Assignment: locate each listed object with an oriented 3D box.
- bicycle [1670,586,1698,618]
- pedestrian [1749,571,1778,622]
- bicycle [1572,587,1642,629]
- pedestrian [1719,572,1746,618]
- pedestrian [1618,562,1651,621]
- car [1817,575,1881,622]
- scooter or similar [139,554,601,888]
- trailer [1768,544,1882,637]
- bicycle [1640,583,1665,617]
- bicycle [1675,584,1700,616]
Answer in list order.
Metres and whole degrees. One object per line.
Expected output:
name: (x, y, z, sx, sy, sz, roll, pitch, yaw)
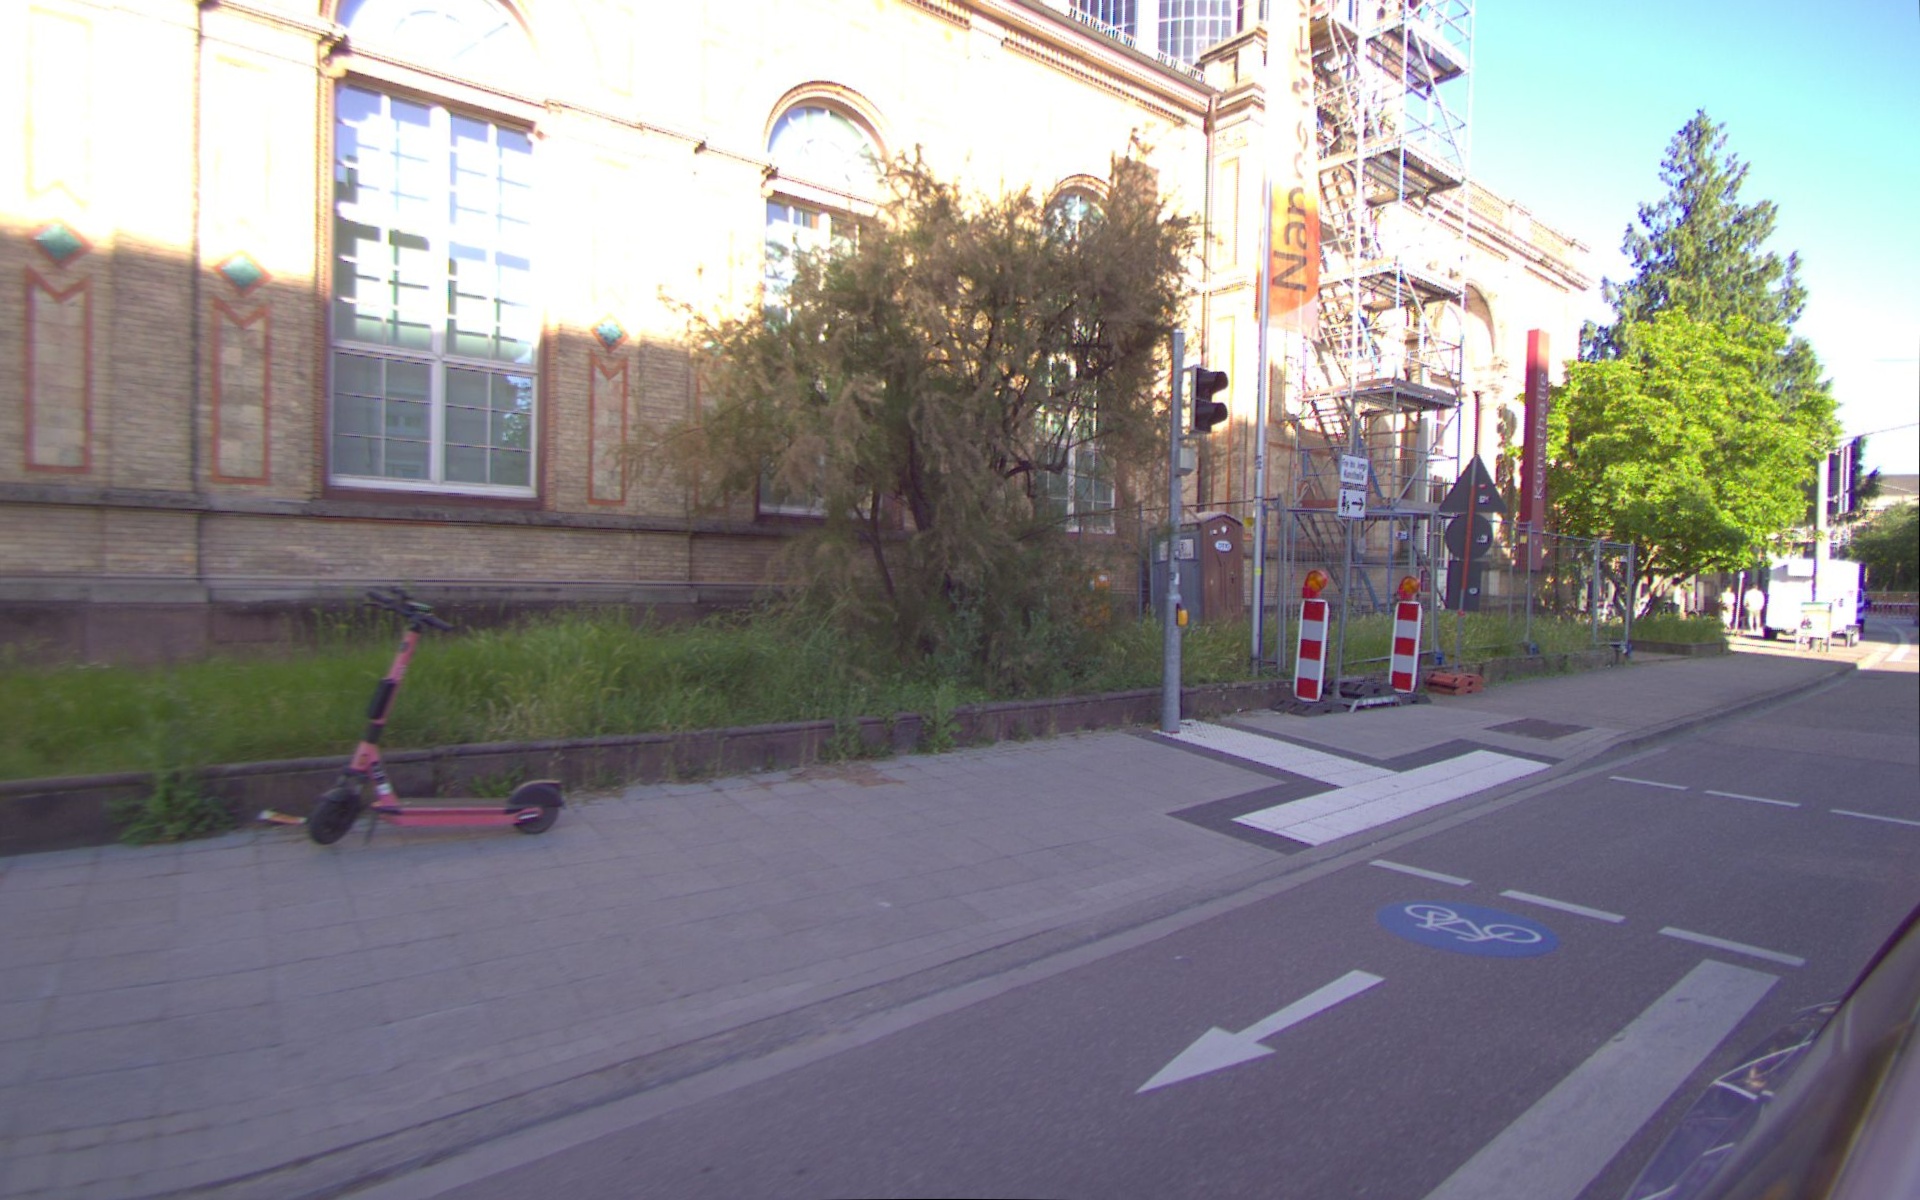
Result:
bicycle: (27.483, 0.055, 38.419, 1.795, 1.170, 0.419, 0, 4, -43)
pedestrian: (30.670, -0.136, 38.606, 0.715, 1.918, 0.876, 4, 2, 43)
bicycle: (17.398, 0.200, 27.239, 0.471, 1.051, 1.468, 0, 3, -44)
pedestrian: (29.971, -0.197, 39.246, 0.683, 1.722, 0.682, 4, 2, 44)
pedestrian: (20.666, -0.263, 31.002, 0.725, 1.790, 0.640, 0, 2, -42)
car: (39.484, -0.132, 45.043, 2.012, 1.969, 5.402, 1, 1, 40)
scooter or similar: (-2.706, 0.475, 4.788, 1.798, 1.325, 0.557, 0, 2, -37)
trailer: (26.437, -0.315, 30.868, 4.417, 2.559, 2.082, 0, 4, -44)
bicycle: (23.705, 0.005, 34.638, 1.505, 1.119, 0.274, 0, 3, -40)
bicycle: (26.112, -0.008, 36.313, 0.395, 1.144, 1.896, 3, 2, 45)
